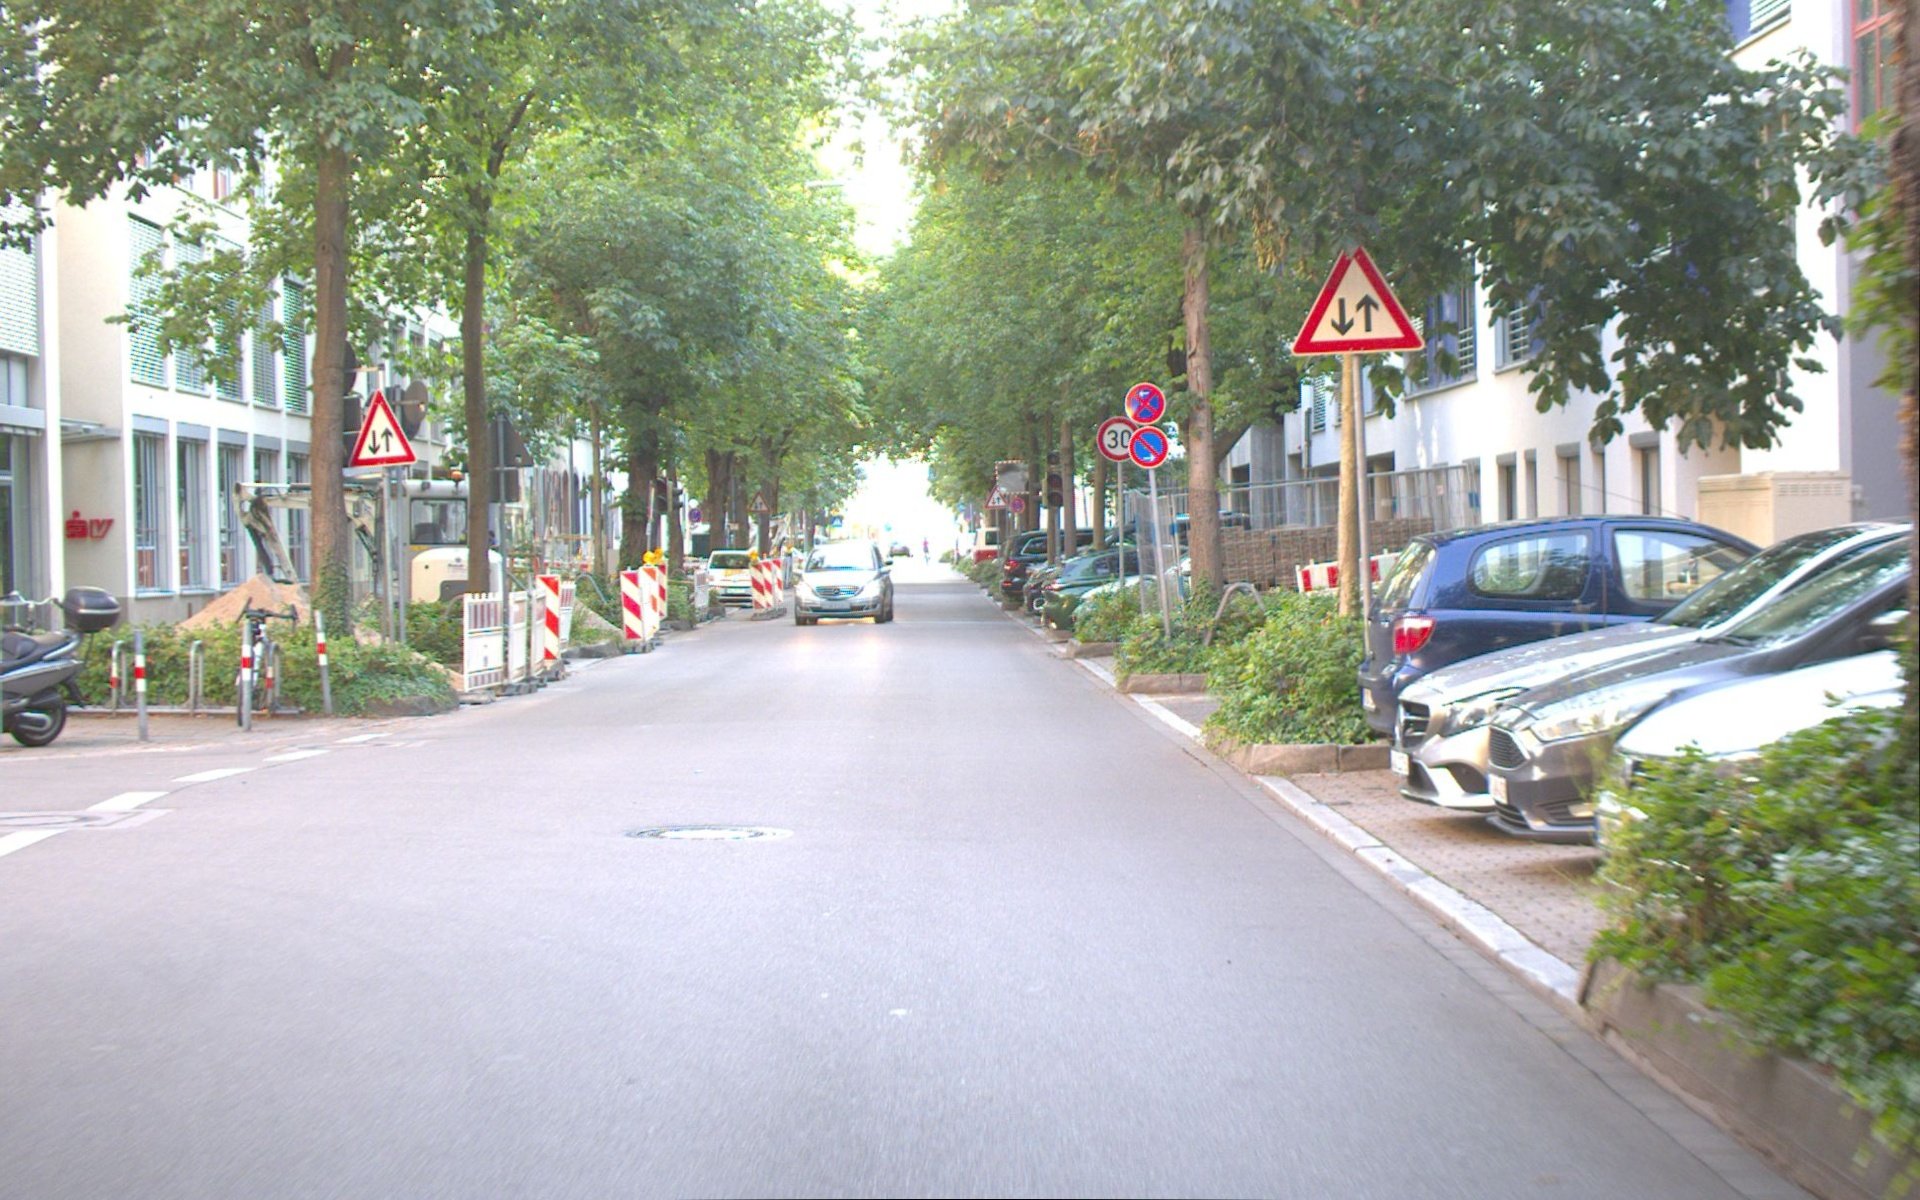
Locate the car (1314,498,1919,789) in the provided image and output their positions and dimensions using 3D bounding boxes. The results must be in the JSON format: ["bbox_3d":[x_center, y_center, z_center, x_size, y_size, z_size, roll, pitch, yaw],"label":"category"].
[{"bbox_3d":[3.936,0.223,19.927,3.539,1.558,1.832,-1,1,-1],"label":"car"}]

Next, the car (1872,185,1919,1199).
[{"bbox_3d":[4.104,0.236,5.589,4.600,2.059,2.198,-1,1,-2],"label":"car"}]

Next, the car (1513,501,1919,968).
[{"bbox_3d":[4.484,0.366,12.273,4.621,1.497,1.962,-2,1,-2],"label":"car"}]

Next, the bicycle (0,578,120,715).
[{"bbox_3d":[-8.154,0.399,30.919,0.683,1.148,1.981,-1,2,0],"label":"bicycle"}]

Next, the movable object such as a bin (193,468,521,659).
[{"bbox_3d":[-7.894,-0.507,45.461,4.045,2.375,2.785,-1,1,-6],"label":"movable object such as a bin"}]

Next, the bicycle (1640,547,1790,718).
[{"bbox_3d":[5.756,0.227,26.306,0.828,1.231,1.803,-1,1,3],"label":"bicycle"}]

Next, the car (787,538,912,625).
[{"bbox_3d":[-2.247,-0.397,68.846,2.009,1.607,4.121,-1,2,-8],"label":"car"}]

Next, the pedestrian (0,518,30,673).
[{"bbox_3d":[-10.659,-0.048,37.658,0.739,1.684,0.607,-1,1,1],"label":"pedestrian"}]

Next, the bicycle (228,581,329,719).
[{"bbox_3d":[-6.118,0.434,30.950,0.683,1.148,1.981,-1,2,-6],"label":"bicycle"}]

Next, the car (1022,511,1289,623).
[{"bbox_3d":[3.560,-0.615,63.250,4.738,2.007,2.000,0,1,-1],"label":"car"}]

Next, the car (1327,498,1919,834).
[{"bbox_3d":[4.279,0.285,17.269,4.621,1.566,2.011,0,1,-1],"label":"car"}]

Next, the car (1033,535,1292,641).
[{"bbox_3d":[3.155,-0.206,54.258,3.987,1.579,2.000,-1,1,1],"label":"car"}]

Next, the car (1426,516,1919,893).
[{"bbox_3d":[4.535,0.394,14.876,4.782,1.515,1.991,0,1,1],"label":"car"}]

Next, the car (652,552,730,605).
[{"bbox_3d":[-7.070,-0.579,90.204,1.993,1.284,4.001,-1,1,-5],"label":"car"}]

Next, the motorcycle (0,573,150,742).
[{"bbox_3d":[-7.763,0.460,27.264,2.350,1.277,1.067,-2,2,-41],"label":"motorcycle"}]

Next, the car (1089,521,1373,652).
[{"bbox_3d":[3.893,-0.211,49.681,3.987,1.798,2.000,-1,1,3],"label":"car"}]
